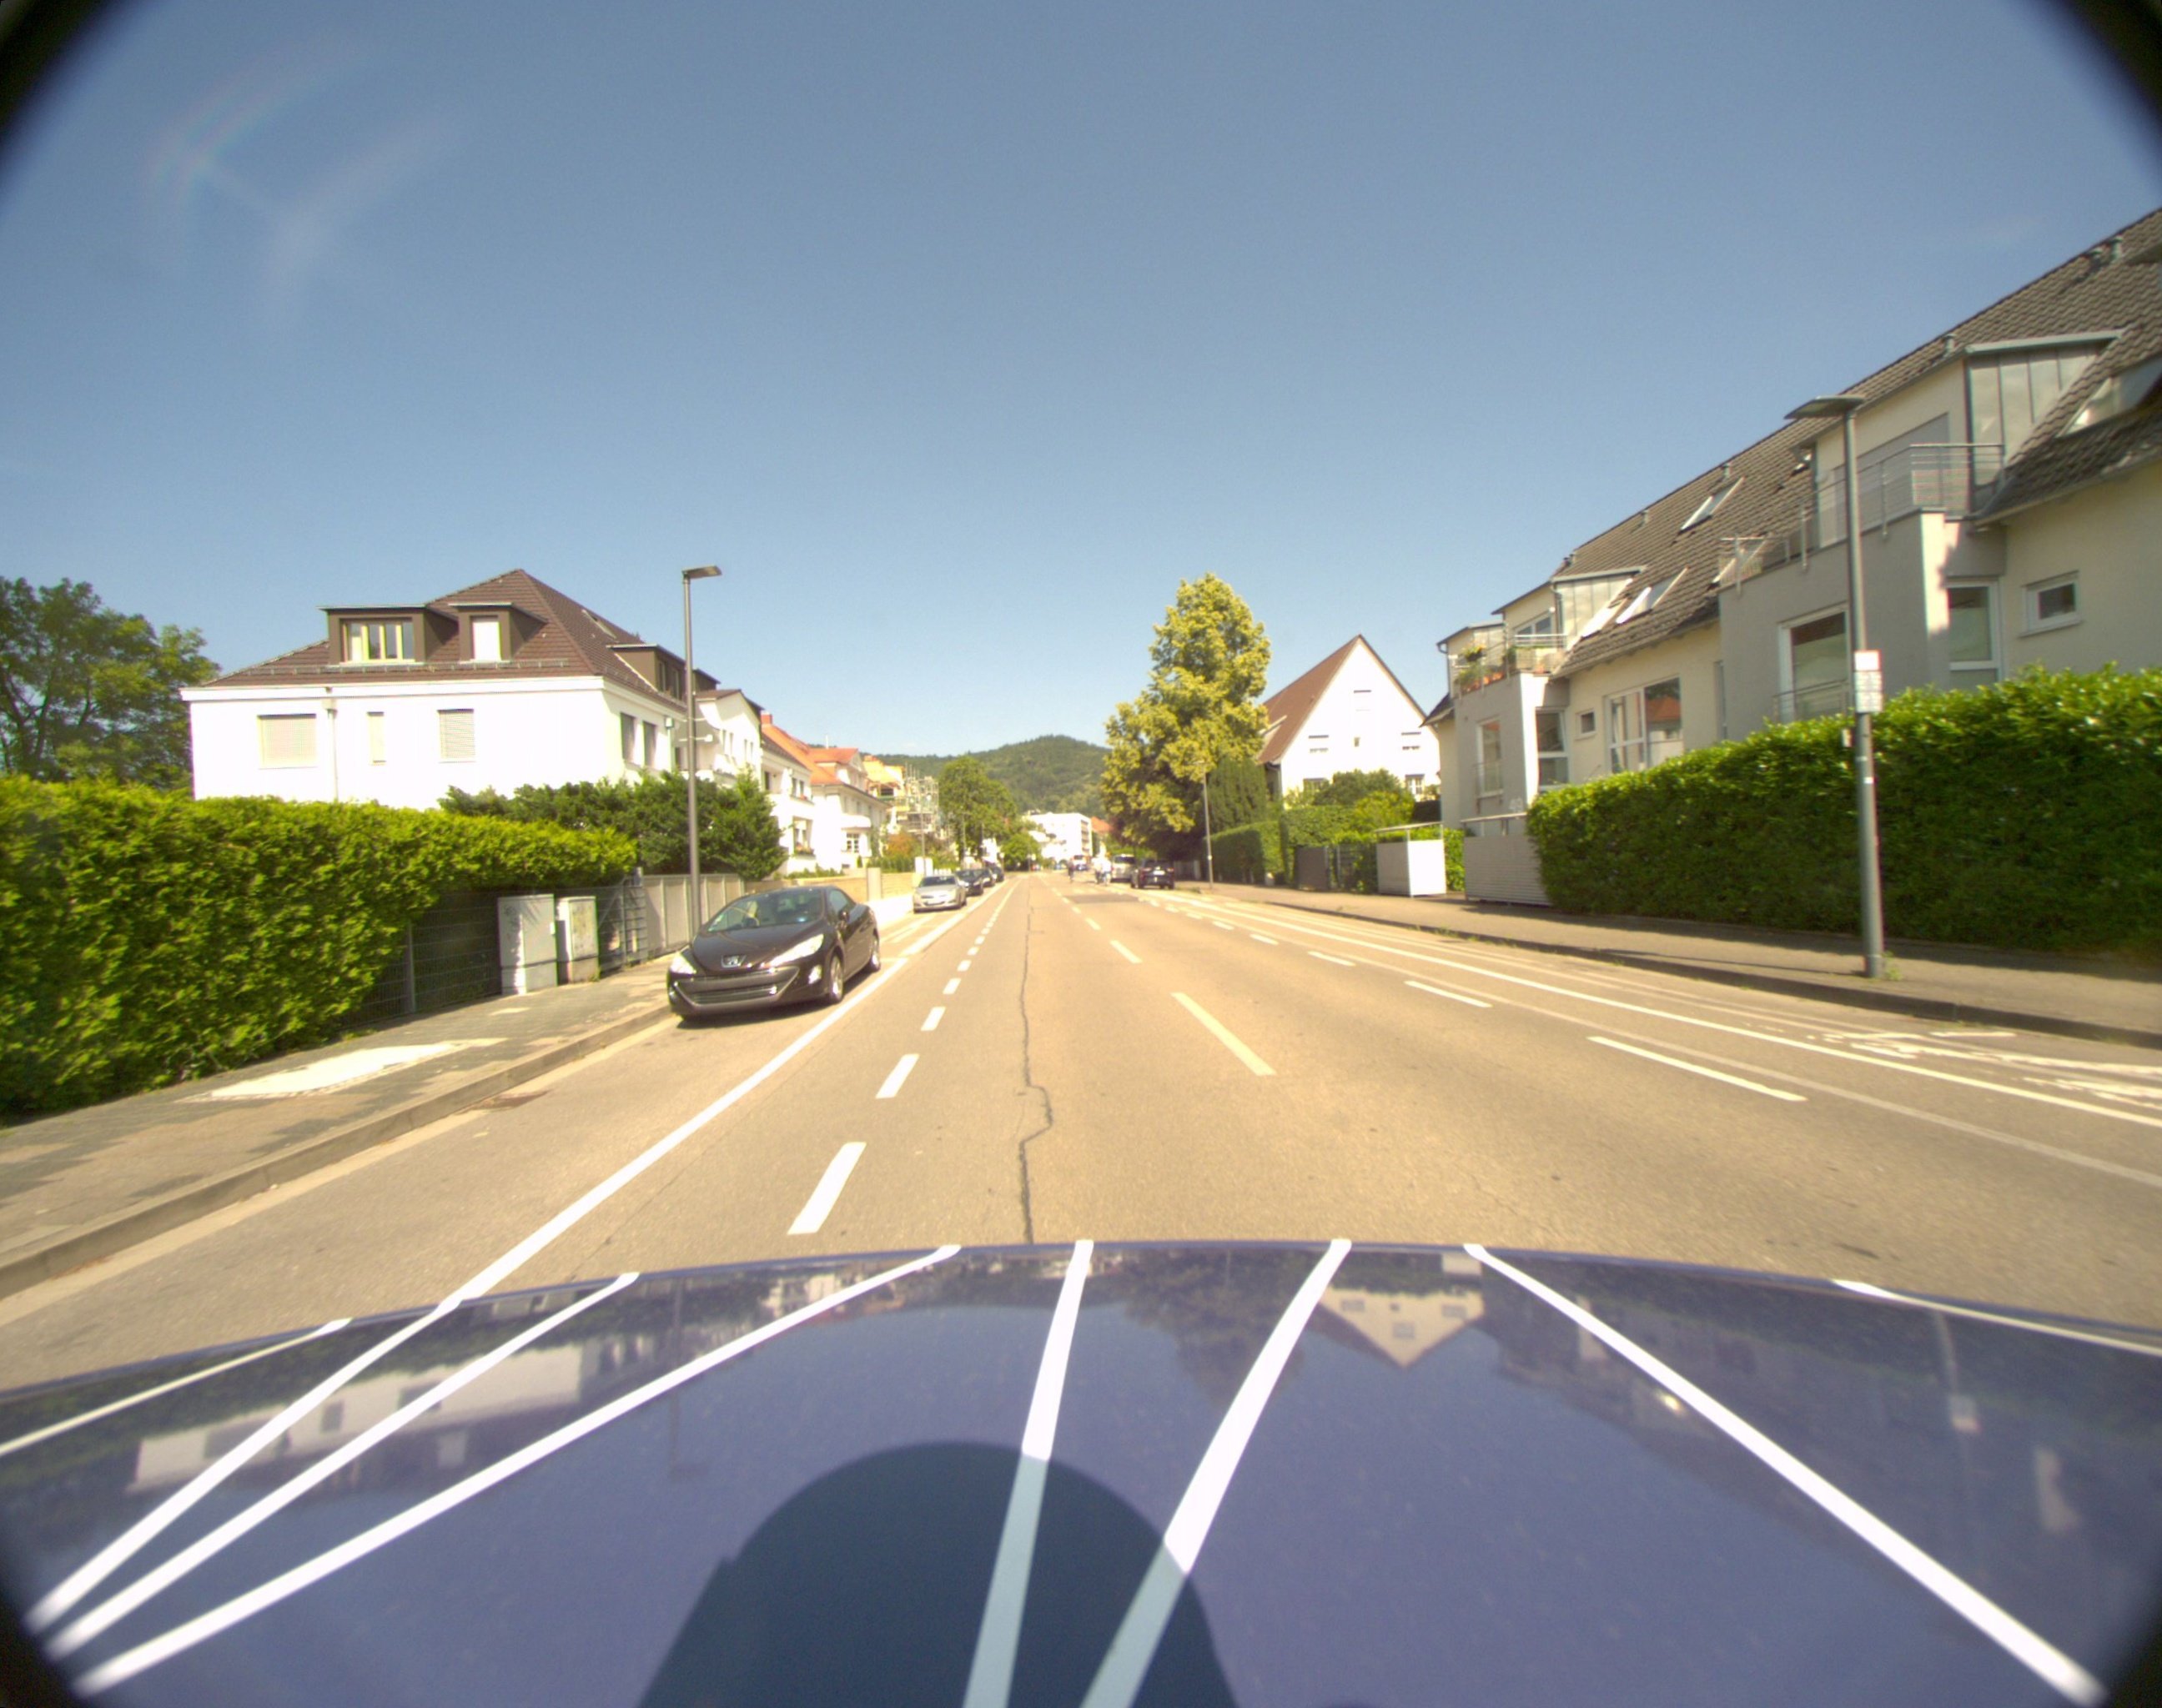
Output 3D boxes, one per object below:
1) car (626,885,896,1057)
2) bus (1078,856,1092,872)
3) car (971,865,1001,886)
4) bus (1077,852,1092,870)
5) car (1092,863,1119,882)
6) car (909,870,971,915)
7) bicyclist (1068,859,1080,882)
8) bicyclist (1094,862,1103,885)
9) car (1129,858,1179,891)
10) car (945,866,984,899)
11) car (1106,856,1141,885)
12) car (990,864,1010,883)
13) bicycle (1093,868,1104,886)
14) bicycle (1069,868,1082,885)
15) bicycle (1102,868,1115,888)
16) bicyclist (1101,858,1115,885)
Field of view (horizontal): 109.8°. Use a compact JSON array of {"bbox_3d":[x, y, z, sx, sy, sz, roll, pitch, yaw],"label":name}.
[{"bbox_3d":[-3.821,1.288,9.998,1.741,1.459,4.344,-6,0,-3],"label":"car"},{"bbox_3d":[0.803,2.051,155.325,2.752,3.155,9.779,-1,-1,0],"label":"bus"},{"bbox_3d":[-7.080,1.588,56.764,1.623,1.440,4.000,-3,0,1],"label":"car"},{"bbox_3d":[0.695,1.381,145.537,2.752,3.155,9.779,-1,-1,0],"label":"bus"},{"bbox_3d":[2.011,1.539,63.466,1.838,1.476,4.561,-1,-1,-4],"label":"car"},{"bbox_3d":[-5.296,1.409,28.936,1.741,1.321,4.074,-6,1,-4],"label":"car"},{"bbox_3d":[-0.522,1.196,54.678,0.751,1.658,1.021,-1,0,-4],"label":"bicyclist"},{"bbox_3d":[1.143,1.266,49.695,0.492,1.445,0.964,-1,0,-4],"label":"bicyclist"},{"bbox_3d":[3.779,1.051,40.146,1.856,1.601,4.446,-1,-1,-5],"label":"car"},{"bbox_3d":[-6.173,1.484,40.651,1.727,1.440,4.167,-6,0,-6],"label":"car"},{"bbox_3d":[2.915,1.140,53.405,1.890,1.908,4.867,-1,-1,-3],"label":"car"},{"bbox_3d":[-7.556,1.803,70.926,1.701,1.573,4.899,-3,-1,-7],"label":"car"},{"bbox_3d":[1.149,1.499,49.684,0.602,1.098,1.346,-1,0,-4],"label":"bicycle"},{"bbox_3d":[-0.388,1.594,53.706,0.785,1.159,2.419,-1,0,-4],"label":"bicycle"},{"bbox_3d":[1.598,1.422,45.134,0.561,1.178,2.035,-1,-1,-4],"label":"bicycle"},{"bbox_3d":[1.596,1.042,45.173,0.678,1.571,0.859,2,0,-4],"label":"bicyclist"}]
